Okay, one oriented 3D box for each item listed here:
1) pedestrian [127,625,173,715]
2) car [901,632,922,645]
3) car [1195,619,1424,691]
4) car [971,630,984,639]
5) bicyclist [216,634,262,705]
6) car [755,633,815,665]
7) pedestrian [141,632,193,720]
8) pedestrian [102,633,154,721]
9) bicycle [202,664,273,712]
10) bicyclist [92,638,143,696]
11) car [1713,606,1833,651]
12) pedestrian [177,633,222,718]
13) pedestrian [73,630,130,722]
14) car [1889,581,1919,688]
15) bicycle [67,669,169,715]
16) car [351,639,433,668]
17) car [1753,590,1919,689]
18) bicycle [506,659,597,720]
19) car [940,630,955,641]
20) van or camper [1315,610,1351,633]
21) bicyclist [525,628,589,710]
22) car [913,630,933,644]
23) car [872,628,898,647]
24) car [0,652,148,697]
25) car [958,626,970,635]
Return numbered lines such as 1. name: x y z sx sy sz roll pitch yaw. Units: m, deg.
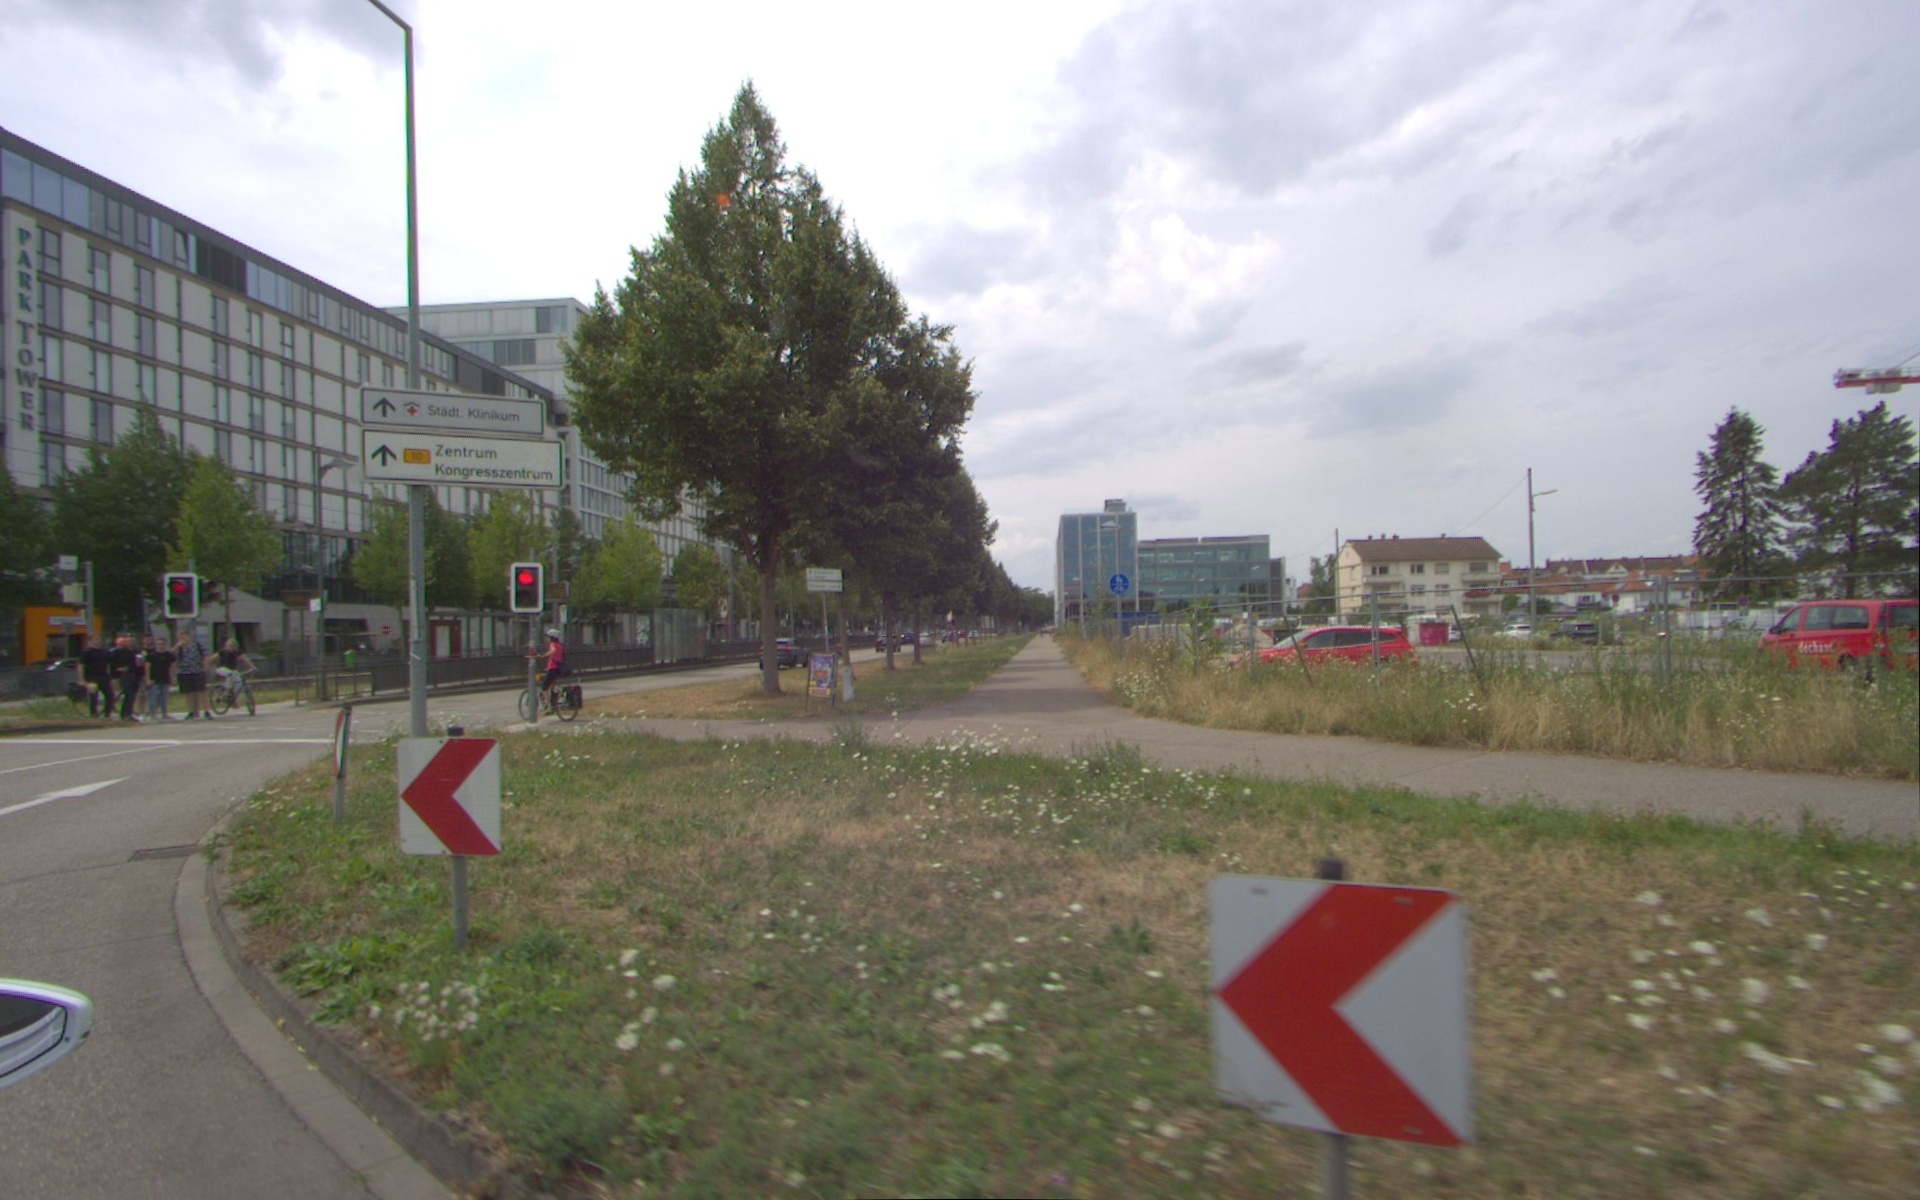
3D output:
1. pedestrian: -17.328 1.489 21.433 0.542 1.886 0.531 -1 -1 0
2. car: -5.827 4.587 120.604 1.699 1.553 4.372 -1 -2 8
3. car: 8.629 1.361 25.002 5.039 1.624 1.790 -1 -1 -1
4. car: 3.274 6.479 187.396 1.961 1.638 4.753 -1 -2 7
5. bicyclist: -16.545 1.588 22.991 0.753 1.601 0.559 -1 -1 23
6. car: -9.116 2.520 52.494 2.024 1.571 4.476 -1 -2 4
7. pedestrian: -16.639 1.582 21.015 0.542 1.804 0.690 -1 -1 0
8. pedestrian: -17.241 1.583 20.760 0.542 1.804 0.633 -1 -1 0
9. bicycle: -16.591 2.007 23.000 1.685 1.072 0.547 -1 -2 24
10. bicyclist: -19.739 1.562 23.466 0.662 1.334 0.640 0 -1 -9
11. car: 42.282 1.488 52.252 2.106 2.163 4.912 -1 -2 -1
12. pedestrian: -16.478 1.618 21.708 0.542 1.804 0.581 -1 -1 0
13. pedestrian: -17.155 1.510 20.032 0.542 1.804 0.690 -1 -1 0
14. car: 22.339 0.707 20.461 2.277 2.443 6.534 -2 -2 17
15. bicycle: -19.702 2.141 23.459 1.723 1.020 0.654 0 -1 -10
16. car: -30.588 2.878 54.082 1.813 1.476 4.001 -1 -2 7
17. car: 19.705 0.844 21.911 1.901 1.935 4.983 1 -1 16
18. bicycle: -8.549 1.840 20.926 2.014 1.183 0.787 -2 -1 34
19. car: -1.680 4.872 138.518 1.766 1.516 4.118 -1 -2 3
20. van or camper: 44.934 2.623 120.773 2.306 2.722 5.248 -1 -2 1
21. bicyclist: -8.380 1.421 20.802 1.035 1.648 0.787 -2 -1 35
22. car: -4.075 4.048 110.563 1.795 1.481 4.262 -1 -2 3
23. car: -6.497 3.255 87.427 1.707 1.538 4.148 -1 -2 3
24. car: -32.858 2.725 37.233 1.813 1.476 4.001 -1 -2 7
25. car: 0.720 5.895 191.292 1.961 1.638 4.754 -1 -2 4
